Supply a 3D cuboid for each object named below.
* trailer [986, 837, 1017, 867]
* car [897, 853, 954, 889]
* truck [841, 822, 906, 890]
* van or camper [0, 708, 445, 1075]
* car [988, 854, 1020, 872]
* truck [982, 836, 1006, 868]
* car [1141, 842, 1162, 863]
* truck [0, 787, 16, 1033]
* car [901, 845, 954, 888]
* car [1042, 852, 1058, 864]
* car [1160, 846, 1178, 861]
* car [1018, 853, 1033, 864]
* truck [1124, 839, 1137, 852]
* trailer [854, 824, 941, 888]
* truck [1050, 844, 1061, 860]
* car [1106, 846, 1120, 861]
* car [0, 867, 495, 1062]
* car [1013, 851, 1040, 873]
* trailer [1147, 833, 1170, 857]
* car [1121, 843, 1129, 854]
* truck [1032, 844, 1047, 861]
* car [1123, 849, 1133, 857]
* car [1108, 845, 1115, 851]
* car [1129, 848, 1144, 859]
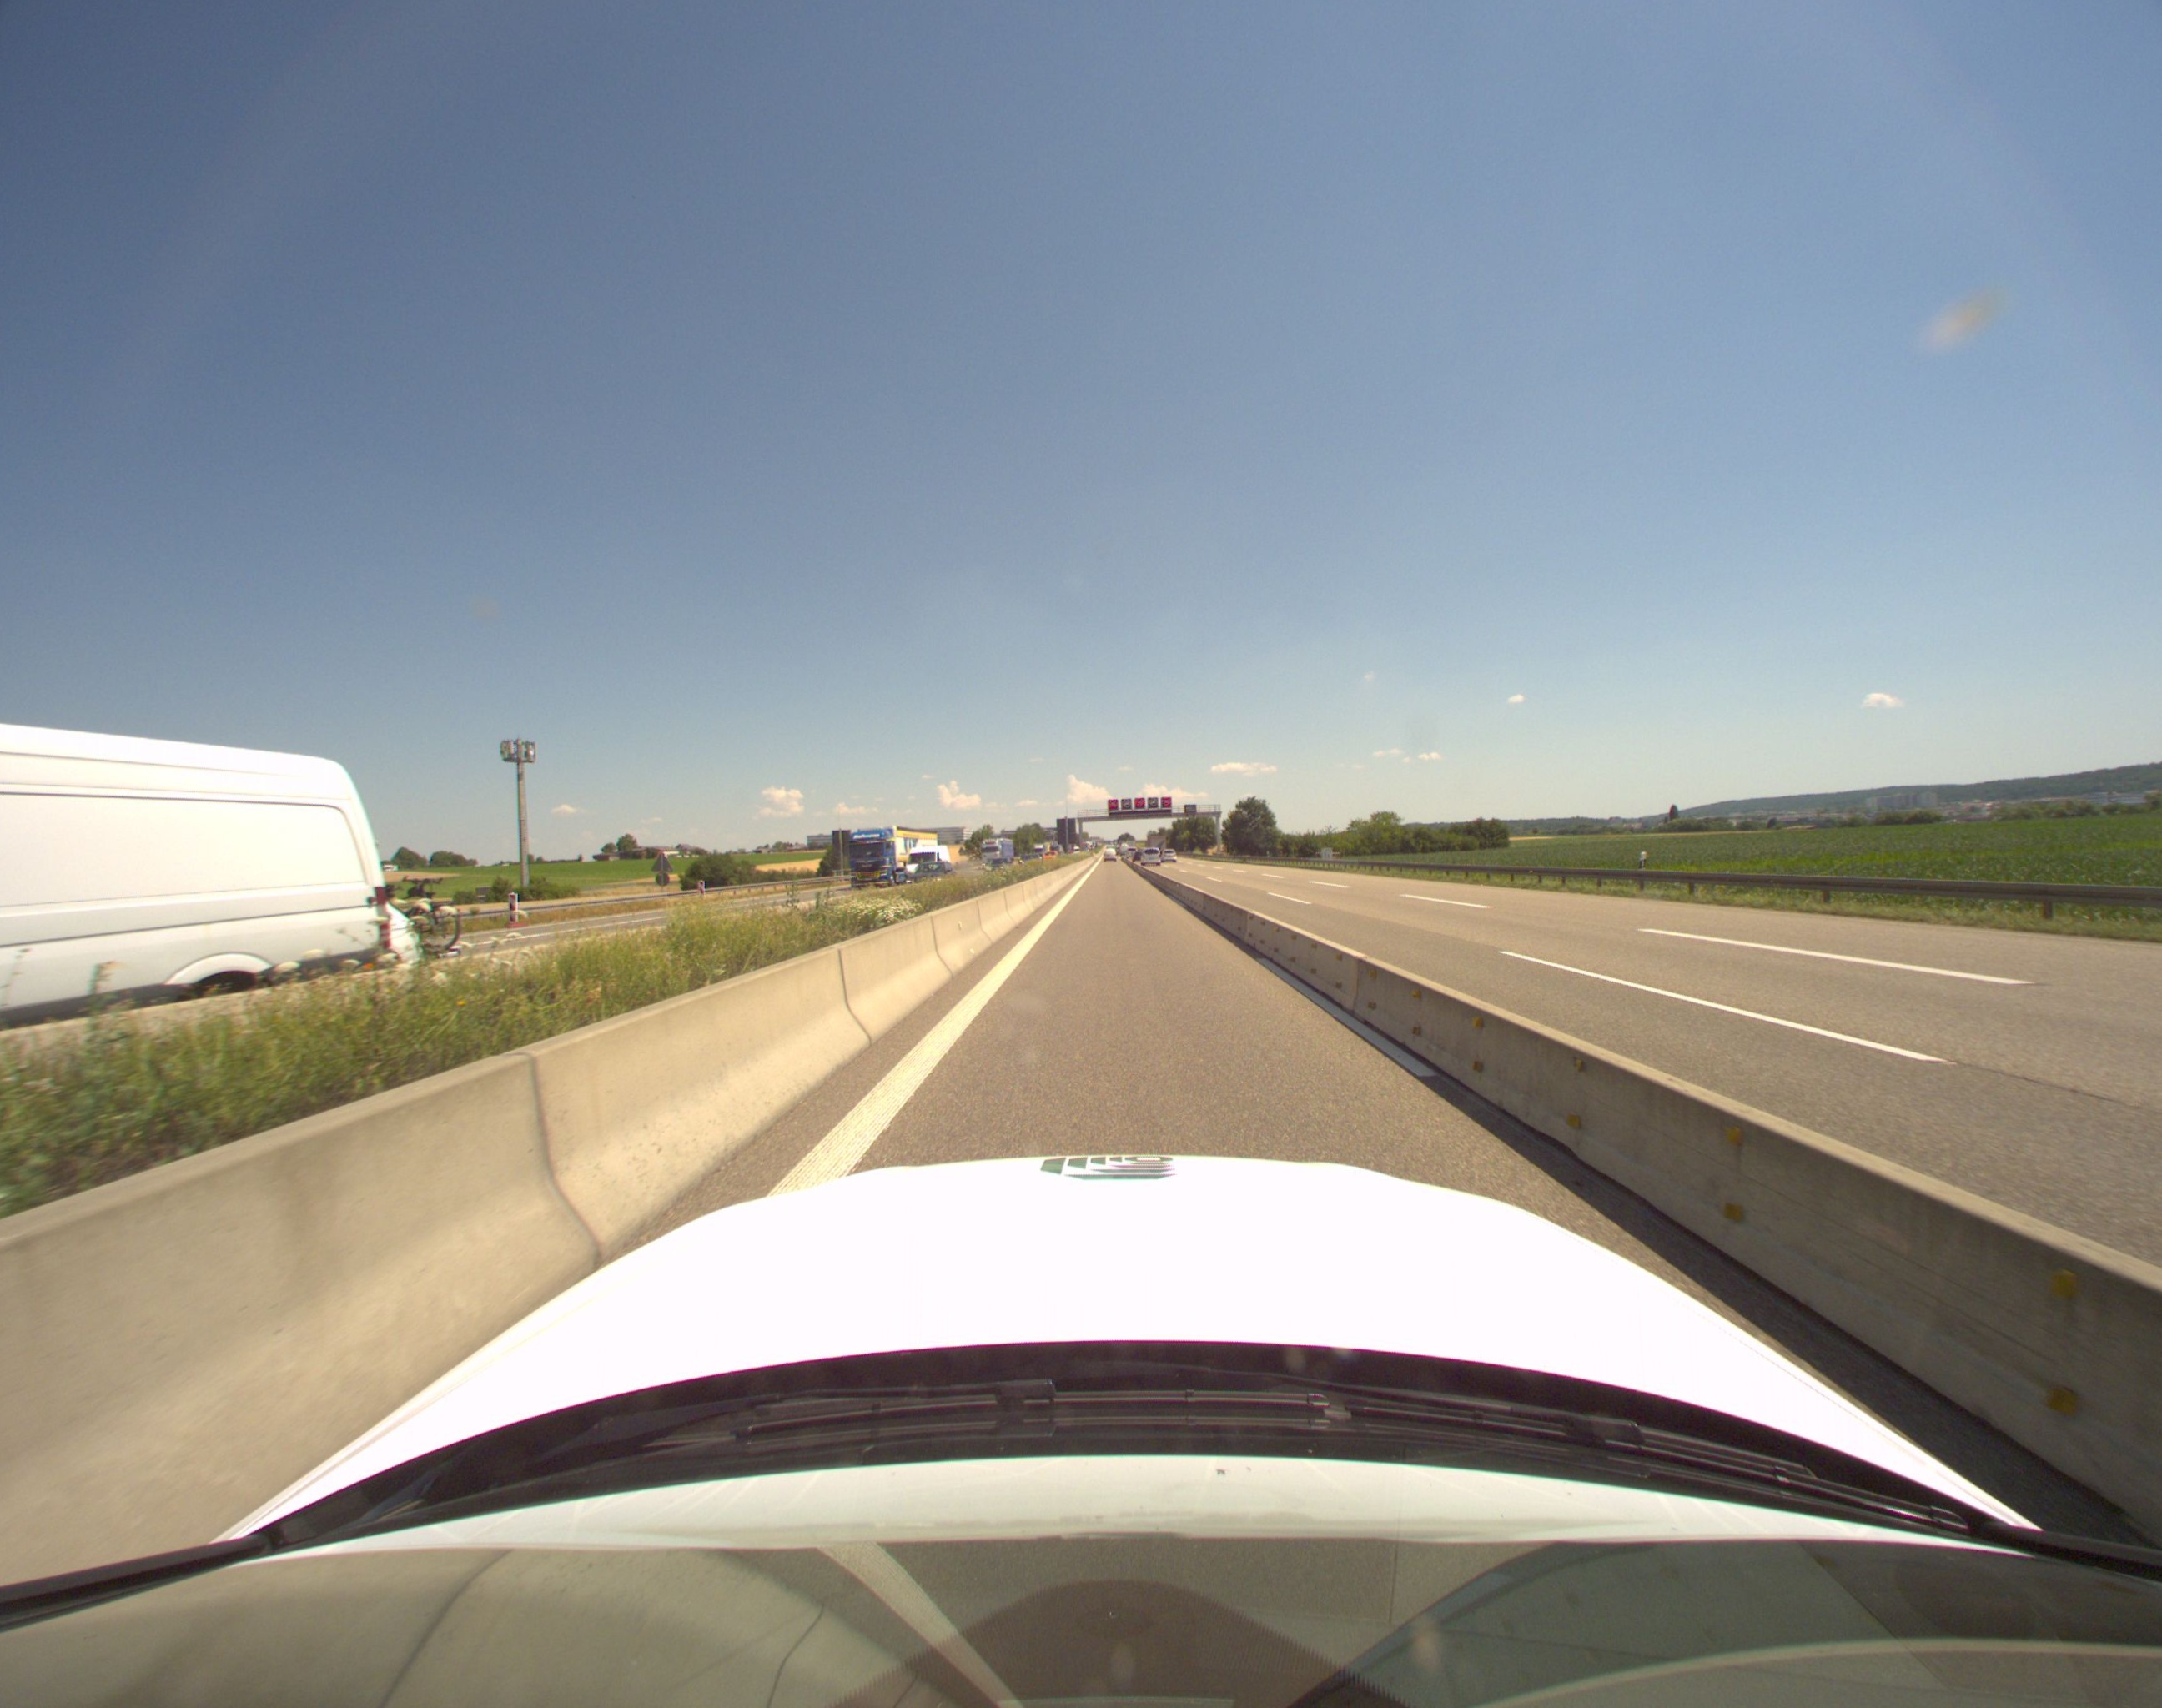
[{"bbox_3d":[-11.395,-0.308,117.948,2.377,4.086,14.105,-2,0,2],"label":"trailer"},{"bbox_3d":[-7.149,0.736,37.776,1.592,1.469,4.534,-3,0,1],"label":"car"},{"bbox_3d":[-13.578,0.104,53.699,2.800,4.128,4.843,-3,0,1],"label":"truck"},{"bbox_3d":[-7.567,0.238,4.657,2.028,2.221,7.210,-1,0,2],"label":"van or camper"},{"bbox_3d":[-5.812,0.686,62.042,1.772,1.335,4.931,-1,-1,1],"label":"car"},{"bbox_3d":[-11.727,-0.230,109.627,2.402,4.086,4.662,-2,0,2],"label":"truck"},{"bbox_3d":[7.427,-0.158,86.045,1.986,2.120,4.001,-2,-1,2],"label":"car"},{"bbox_3d":[-15.031,0.512,3.518,2.784,3.609,13.296,-4,0,2],"label":"truck"},{"bbox_3d":[-9.846,0.740,52.669,2.039,2.501,5.814,-3,0,1],"label":"car"},{"bbox_3d":[-4.265,0.567,112.126,1.887,1.578,4.937,-1,-1,1],"label":"car"},{"bbox_3d":[11.198,-0.080,103.959,1.986,1.794,4.001,-2,-1,2],"label":"car"},{"bbox_3d":[-7.791,0.621,114.833,1.582,1.508,4.231,-2,0,2],"label":"car"},{"bbox_3d":[16.124,-2.800,264.446,3.802,3.904,9.583,-2,0,1],"label":"truck"},{"bbox_3d":[-13.394,0.090,61.169,2.799,4.128,14.134,-3,0,1],"label":"trailer"},{"bbox_3d":[-7.474,-0.558,236.018,2.583,4.238,4.856,-5,0,1],"label":"truck"},{"bbox_3d":[4.586,-0.042,116.588,1.986,2.014,4.001,-2,-1,2],"label":"car"},{"bbox_3d":[-10.521,1.127,10.455,1.880,1.709,5.522,-4,0,0],"label":"car"},{"bbox_3d":[-5.164,0.735,77.271,1.985,2.013,4.689,-2,0,3],"label":"car"},{"bbox_3d":[13.184,-1.459,139.078,3.265,3.967,9.116,-2,-1,2],"label":"trailer"},{"bbox_3d":[10.129,-1.225,189.047,1.767,2.392,4.001,-1,-1,2],"label":"car"},{"bbox_3d":[-9.204,-0.319,182.001,2.687,3.587,4.003,-4,0,3],"label":"truck"},{"bbox_3d":[8.418,-0.191,145.834,1.767,1.447,4.001,-2,-1,2],"label":"car"},{"bbox_3d":[9.448,-1.839,251.868,1.986,1.835,4.002,-1,0,2],"label":"car"},{"bbox_3d":[7.590,-0.042,111.706,1.767,1.447,4.001,-2,-1,2],"label":"car"}]
